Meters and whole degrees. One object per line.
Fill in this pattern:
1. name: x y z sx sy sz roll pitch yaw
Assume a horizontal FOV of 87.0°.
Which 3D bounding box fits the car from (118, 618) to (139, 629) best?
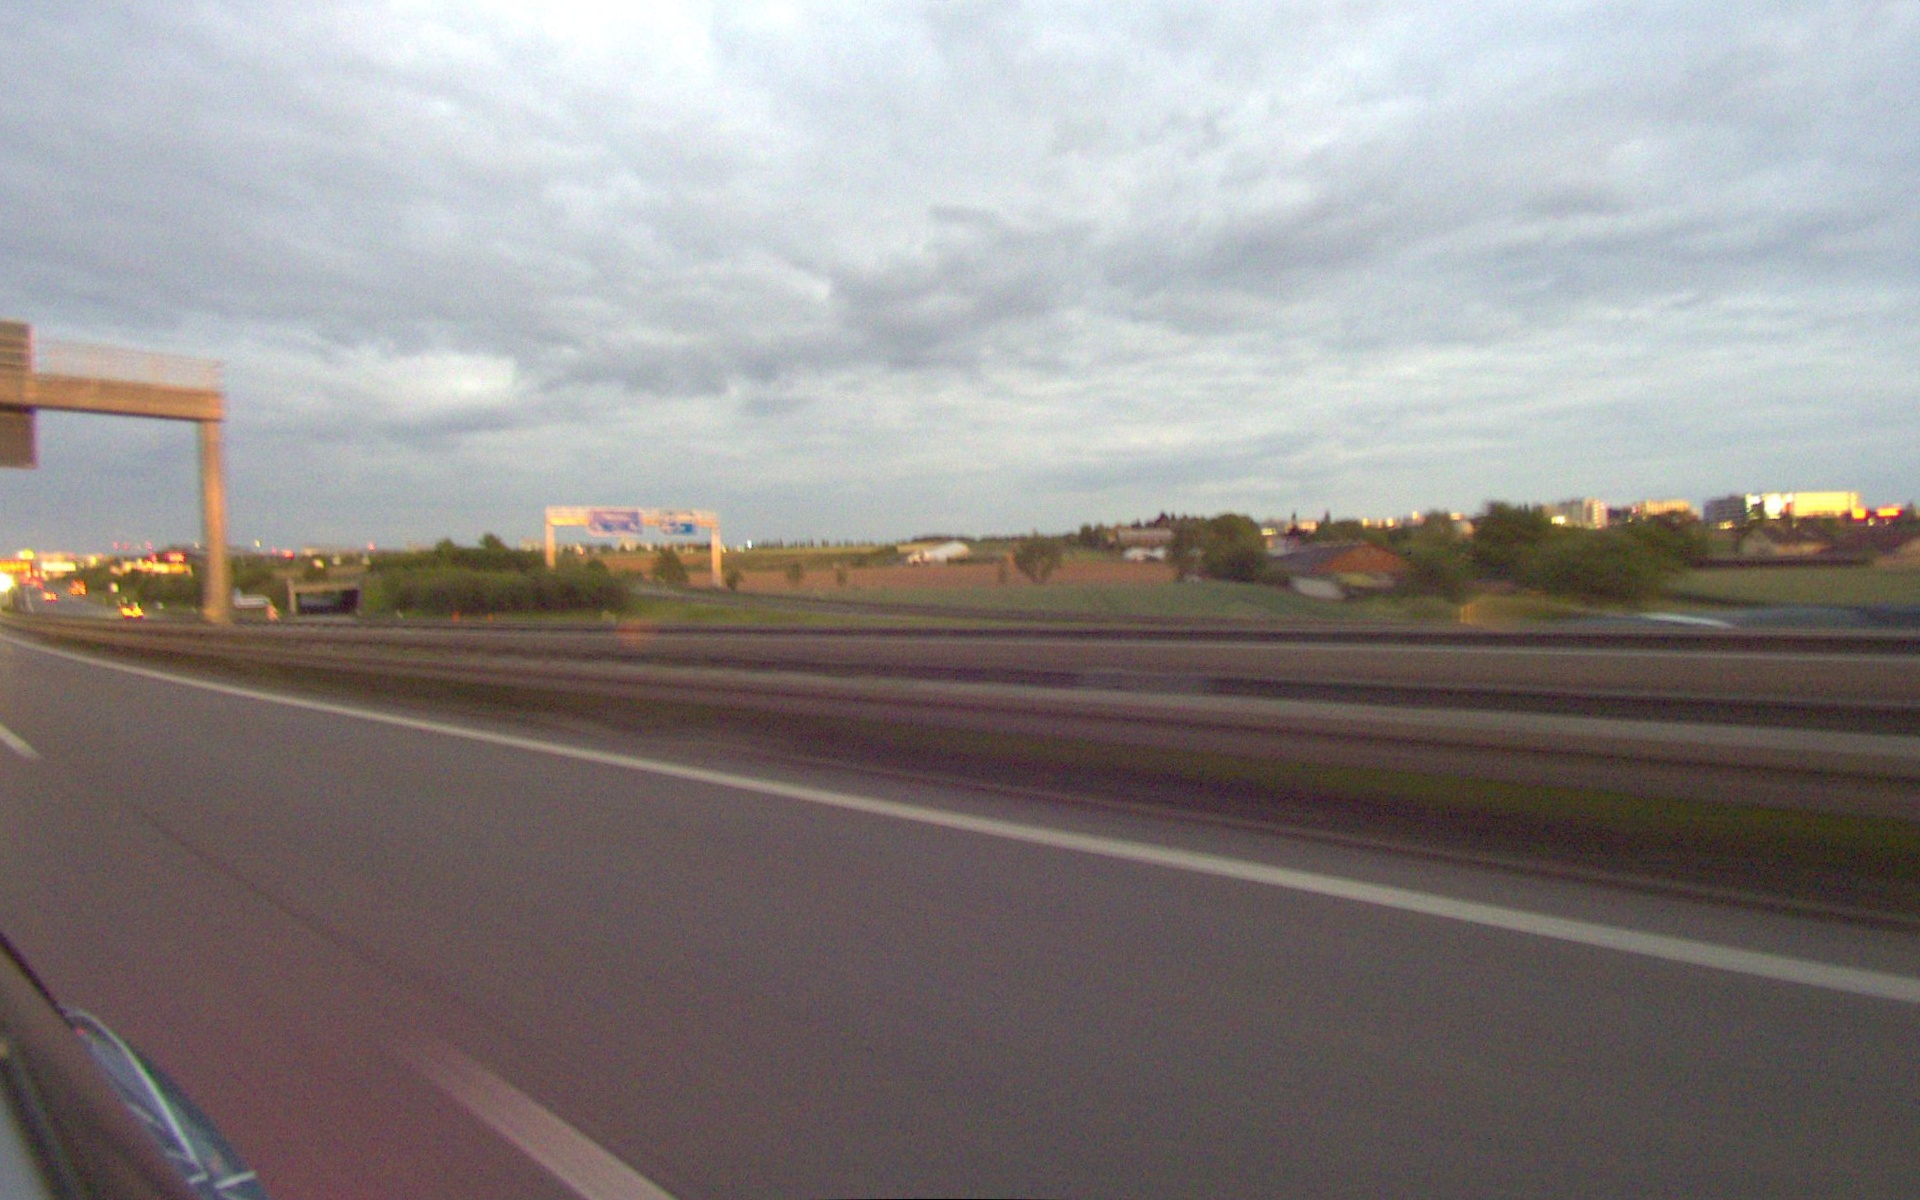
1. car: -114.464 3.256 139.309 1.970 1.414 4.333 -1 0 -44
